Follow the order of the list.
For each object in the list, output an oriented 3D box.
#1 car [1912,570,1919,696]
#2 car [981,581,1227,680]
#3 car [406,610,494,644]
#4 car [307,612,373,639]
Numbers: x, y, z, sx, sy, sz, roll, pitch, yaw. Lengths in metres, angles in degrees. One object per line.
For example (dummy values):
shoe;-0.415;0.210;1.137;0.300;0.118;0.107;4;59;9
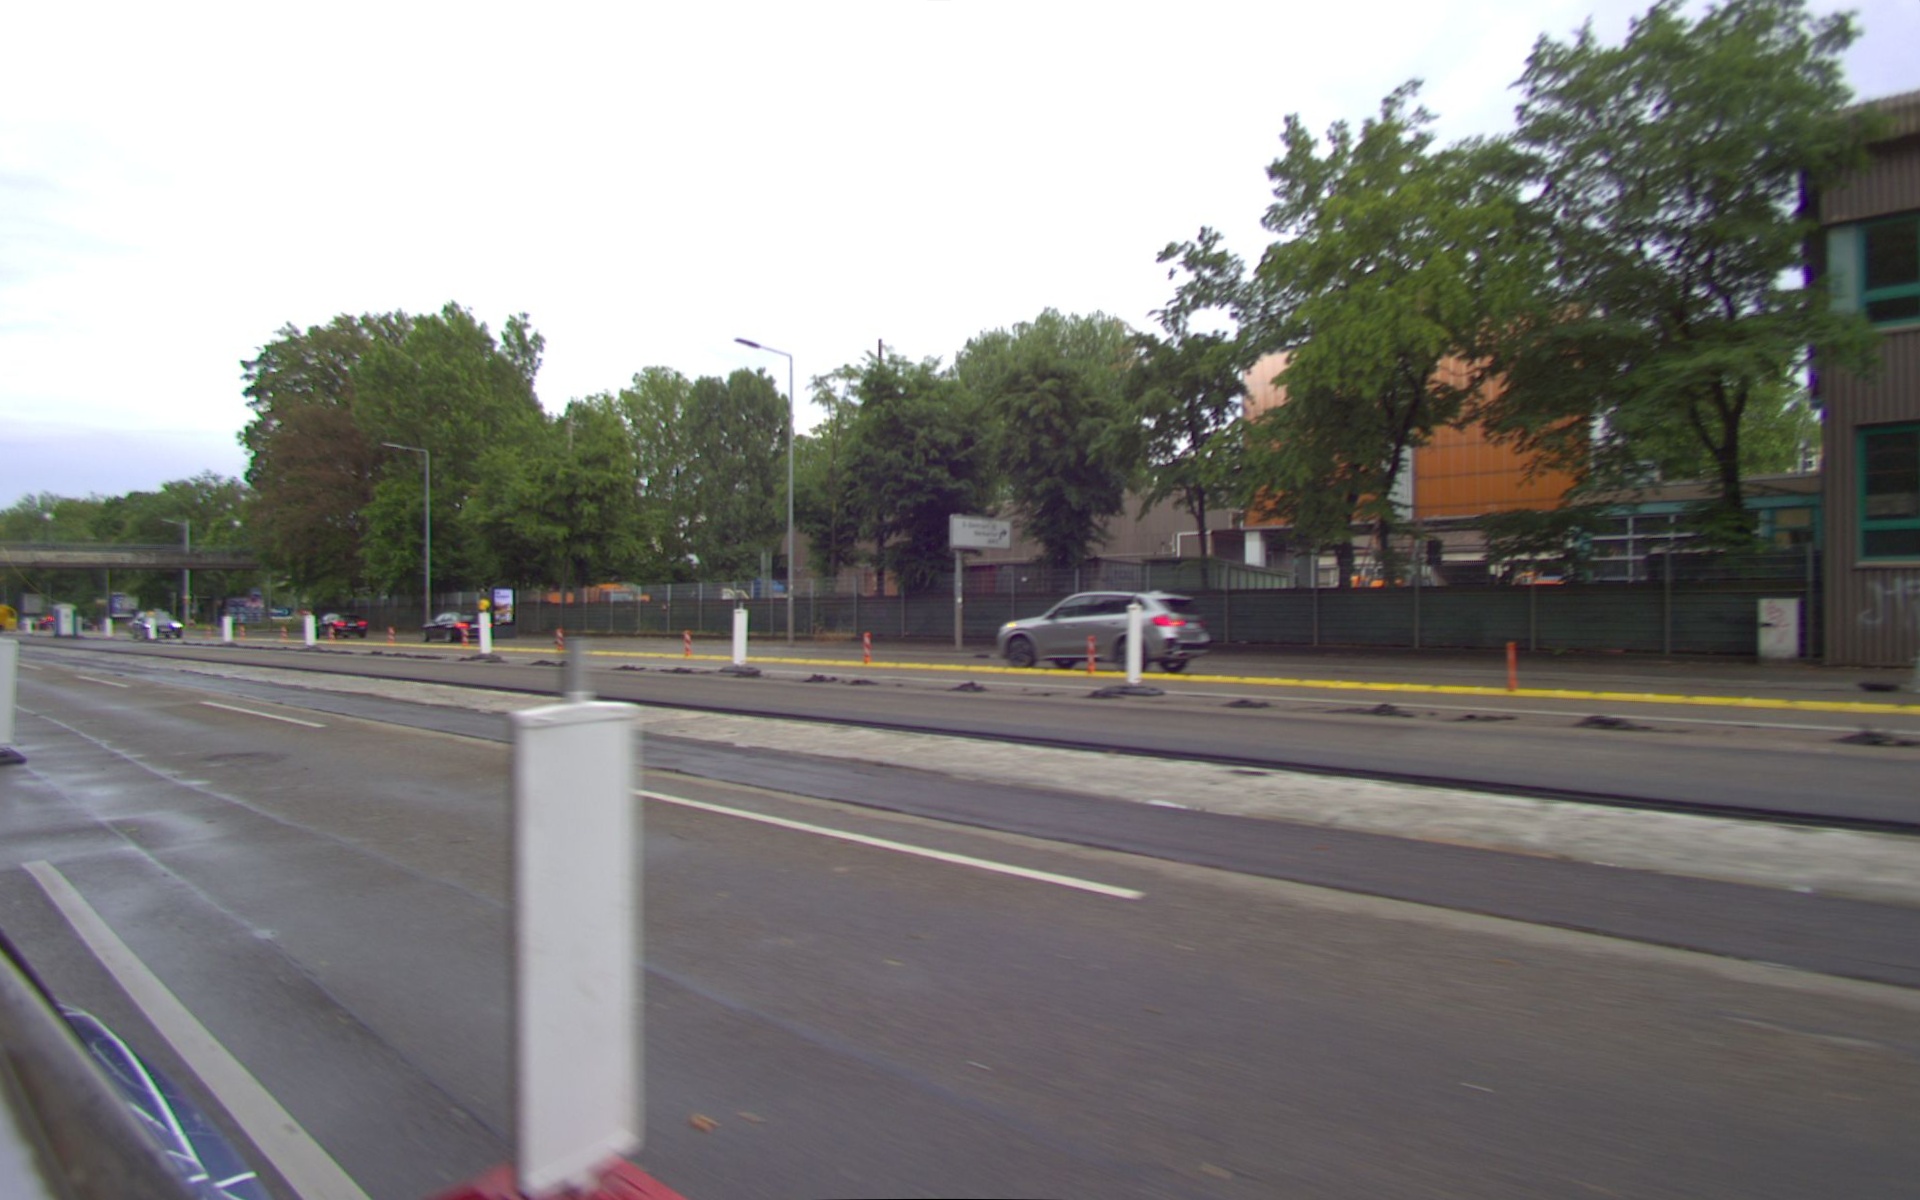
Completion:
car;13.425;0.392;11.289;3.990;1.546;1.785;0;0;41
car;2.840;0.546;20.632;4.674;1.781;1.967;0;0;43
car;-24.022;1.223;47.600;4.762;1.465;2.025;0;0;41
car;-35.598;1.464;58.049;4.261;1.440;1.973;-1;0;40
